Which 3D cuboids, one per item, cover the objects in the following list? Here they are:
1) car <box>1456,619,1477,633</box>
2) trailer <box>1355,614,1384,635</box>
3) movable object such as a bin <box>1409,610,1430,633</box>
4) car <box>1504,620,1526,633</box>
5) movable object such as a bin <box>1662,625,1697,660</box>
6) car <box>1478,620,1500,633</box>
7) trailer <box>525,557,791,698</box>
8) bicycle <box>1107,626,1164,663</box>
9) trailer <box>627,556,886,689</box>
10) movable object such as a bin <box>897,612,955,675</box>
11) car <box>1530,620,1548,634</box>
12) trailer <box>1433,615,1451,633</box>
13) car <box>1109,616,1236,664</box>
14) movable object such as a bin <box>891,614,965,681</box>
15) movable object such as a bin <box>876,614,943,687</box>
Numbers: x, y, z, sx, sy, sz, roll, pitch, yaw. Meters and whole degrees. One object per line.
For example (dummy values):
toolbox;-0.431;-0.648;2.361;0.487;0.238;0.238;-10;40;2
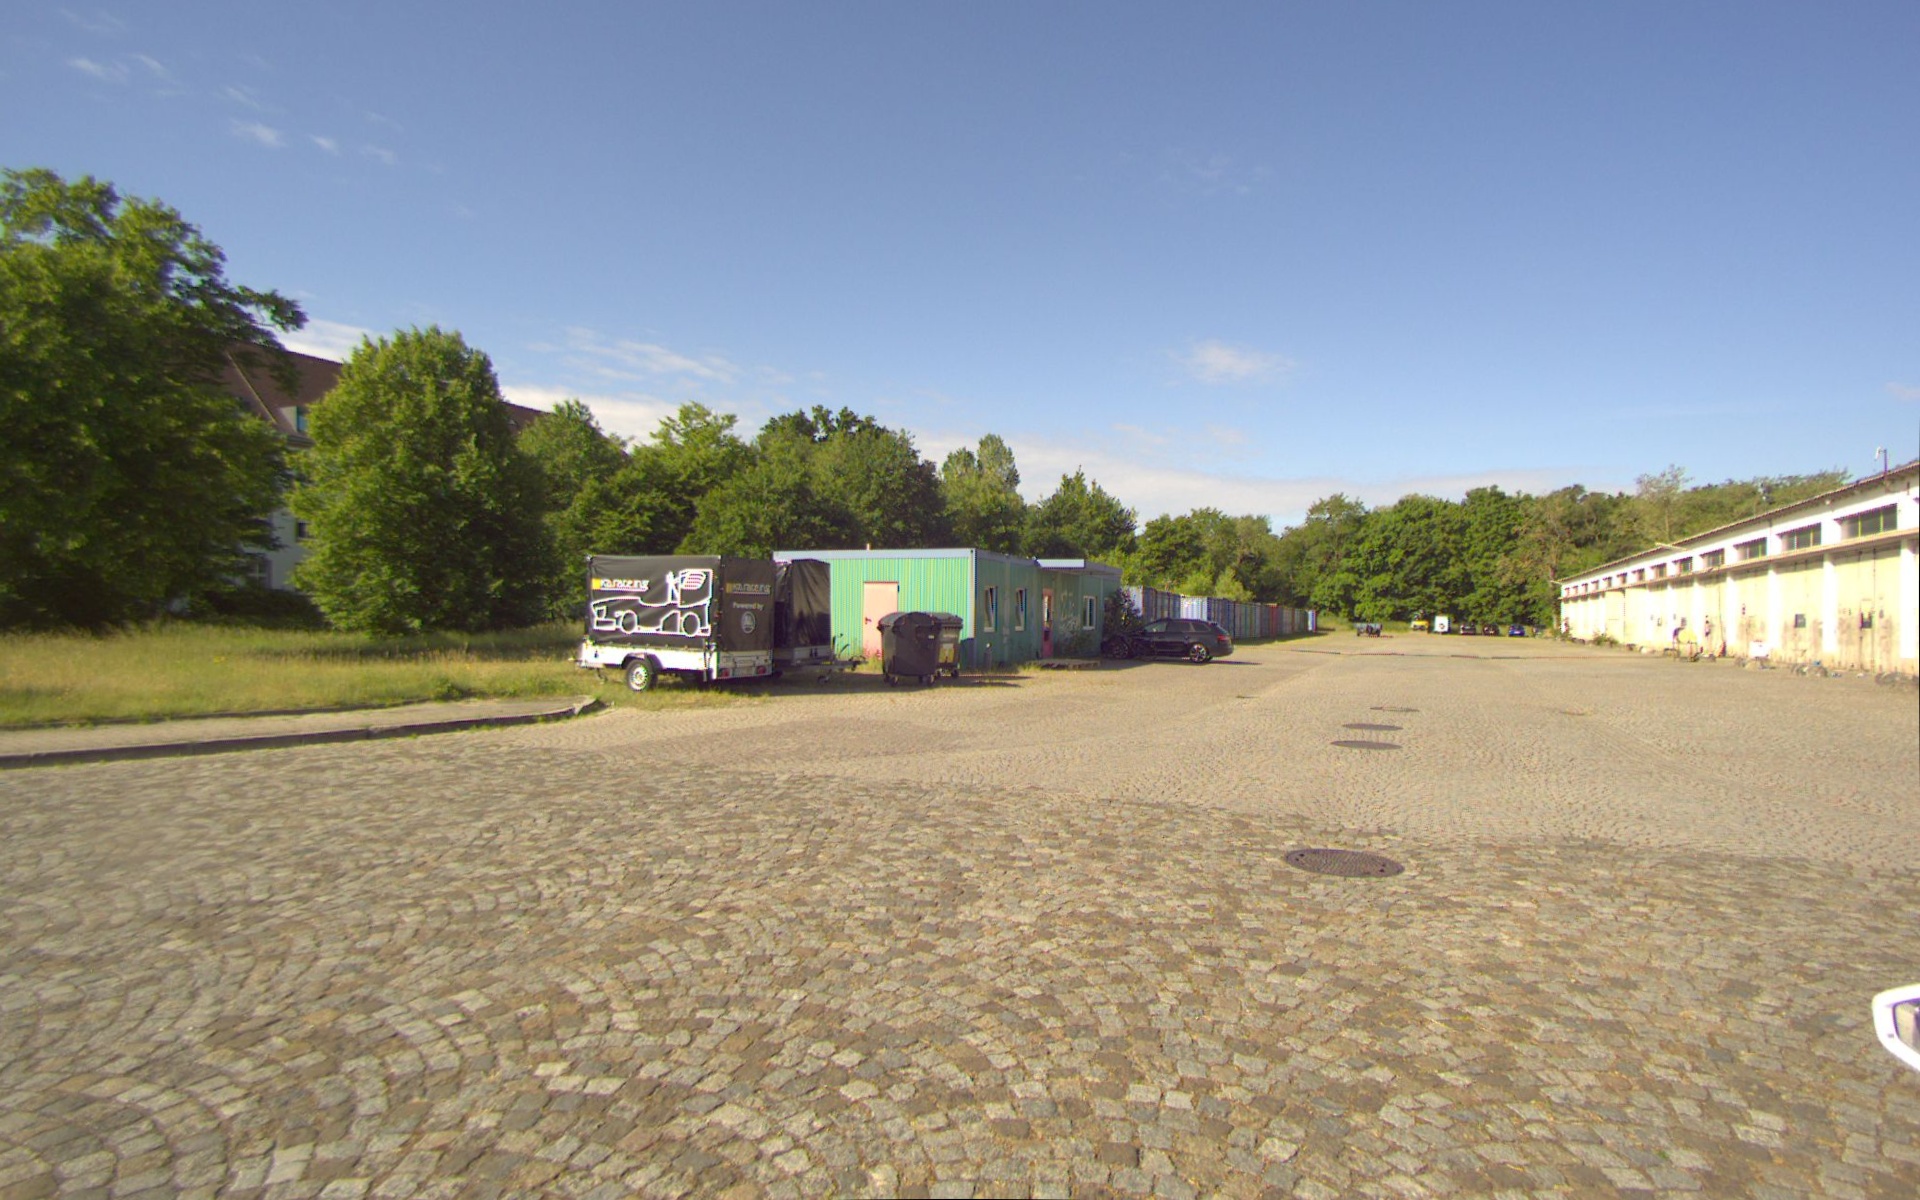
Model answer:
car;59.249;3.031;117.503;1.835;1.606;3.990;0;-1;32
trailer;43.180;2.582;105.934;2.370;2.040;4.168;3;0;27
movable object such as a bin;55.565;2.615;121.483;1.964;2.653;3.993;1;-1;29
car;63.816;3.068;115.499;1.965;1.439;3.990;0;-1;32
movable object such as a bin;28.510;1.663;39.805;0.810;1.349;1.280;0;-1;20
car;61.484;3.055;116.630;1.965;1.482;3.990;0;-1;32
trailer;-5.524;0.432;18.361;4.384;2.303;2.012;2;0;25
bicycle;5.744;1.444;32.951;1.681;1.116;0.673;2;0;25
trailer;-4.102;0.404;20.311;4.759;2.422;1.943;1;0;20
movable object such as a bin;-0.811;1.033;24.257;1.066;1.456;1.410;0;-1;13
car;66.659;3.068;115.612;1.661;1.584;3.990;0;-1;32
trailer;57.654;2.866;120.162;1.767;2.118;3.965;0;-1;29
car;7.215;1.328;34.095;3.982;1.431;1.732;2;-1;20
movable object such as a bin;-0.696;1.028;22.168;1.064;1.404;1.367;0;-1;28
movable object such as a bin;-1.027;0.987;20.083;1.031;1.404;1.359;1;-1;-17
